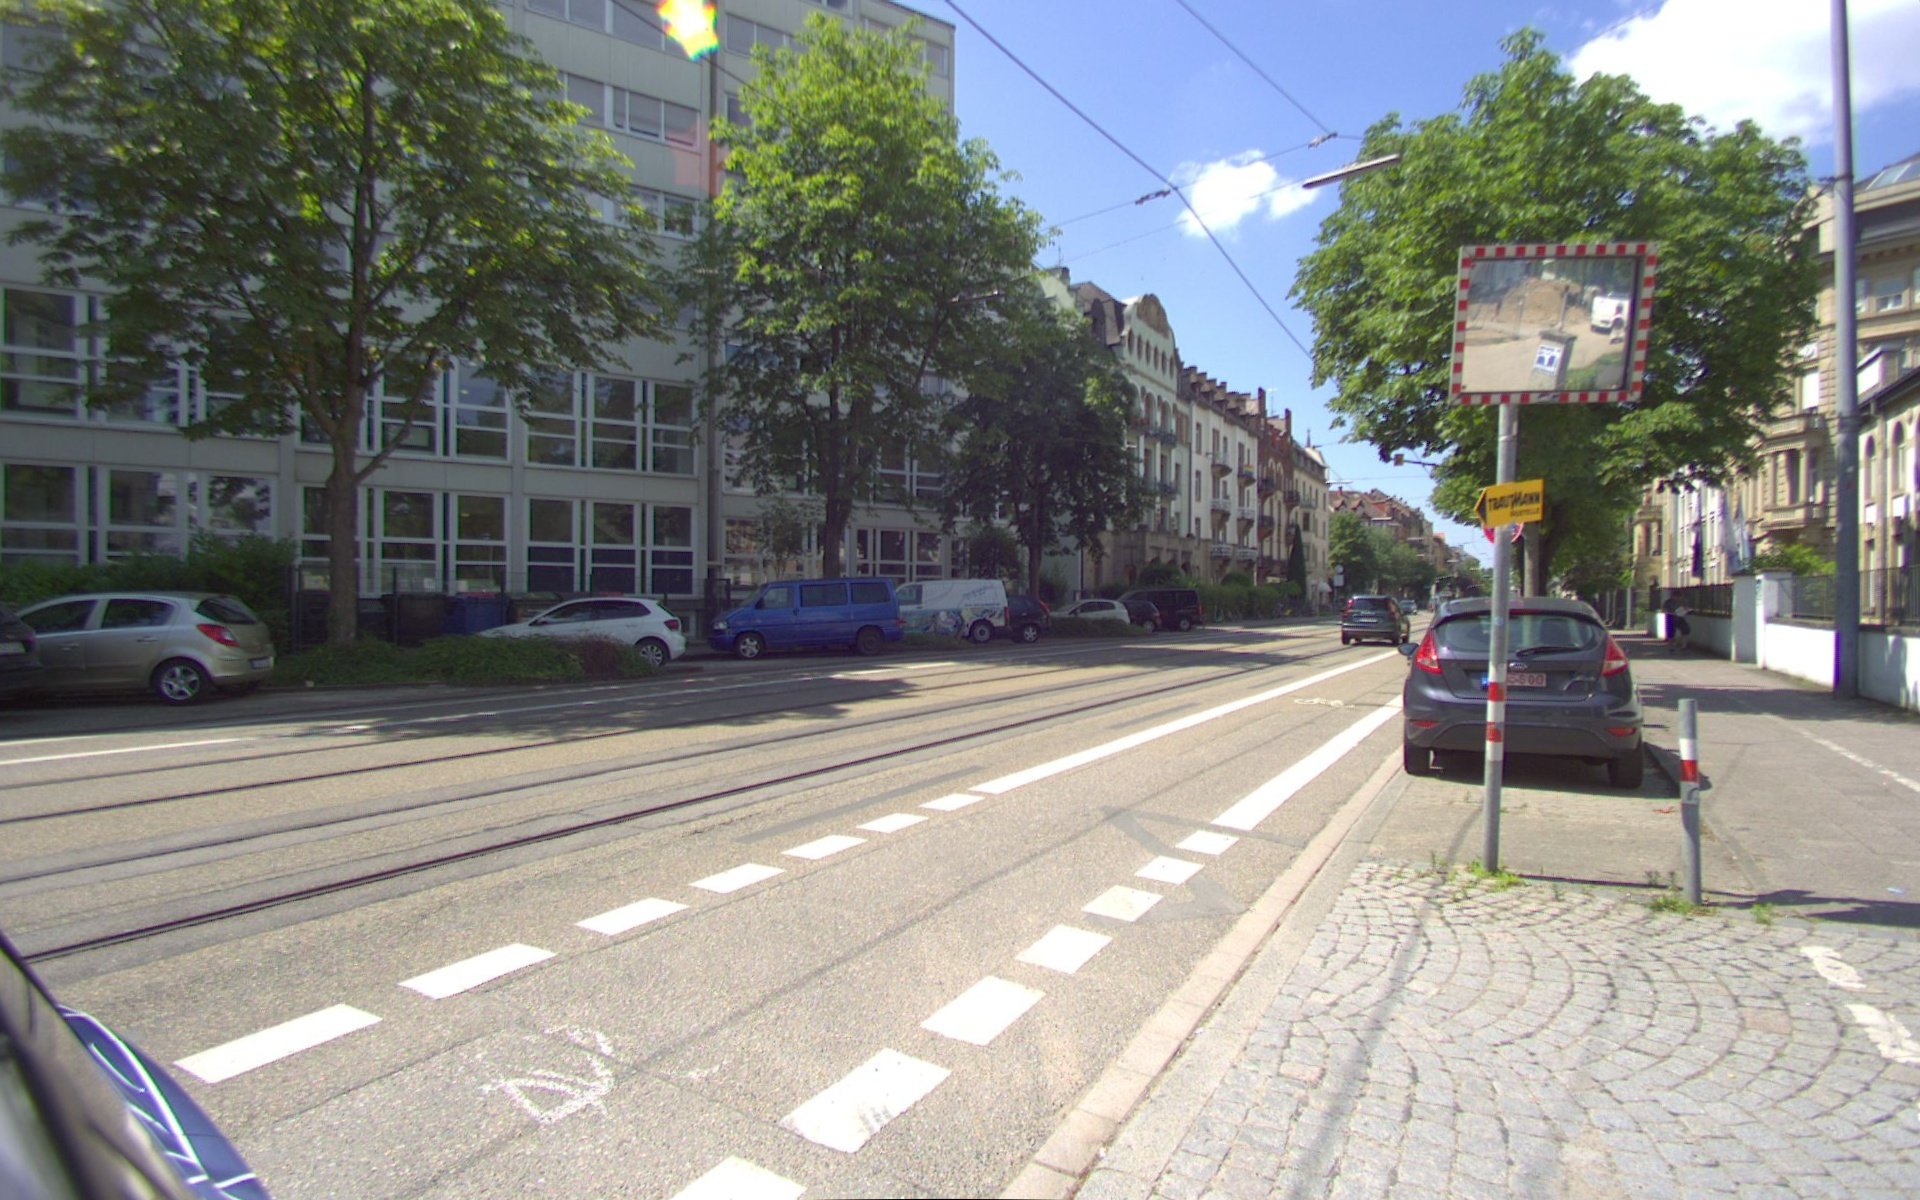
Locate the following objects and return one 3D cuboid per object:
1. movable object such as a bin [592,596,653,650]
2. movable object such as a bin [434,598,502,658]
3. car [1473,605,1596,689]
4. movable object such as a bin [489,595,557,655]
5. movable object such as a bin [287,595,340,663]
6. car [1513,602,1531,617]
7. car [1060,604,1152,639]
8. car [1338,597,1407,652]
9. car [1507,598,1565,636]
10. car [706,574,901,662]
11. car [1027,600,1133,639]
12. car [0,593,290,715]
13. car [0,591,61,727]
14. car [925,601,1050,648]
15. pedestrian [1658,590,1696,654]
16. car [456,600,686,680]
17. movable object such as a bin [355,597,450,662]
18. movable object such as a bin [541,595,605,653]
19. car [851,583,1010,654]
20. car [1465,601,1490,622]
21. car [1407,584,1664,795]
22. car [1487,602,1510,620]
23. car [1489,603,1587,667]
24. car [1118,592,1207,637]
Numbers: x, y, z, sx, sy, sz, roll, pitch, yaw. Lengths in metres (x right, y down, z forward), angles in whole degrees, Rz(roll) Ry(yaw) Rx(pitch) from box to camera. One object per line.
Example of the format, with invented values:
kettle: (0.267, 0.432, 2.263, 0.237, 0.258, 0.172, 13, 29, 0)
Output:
movable object such as a bin: (-8.971, 0.602, 26.906, 1.036, 1.409, 1.166, -1, -1, 38)
movable object such as a bin: (-11.218, 0.627, 23.084, 0.968, 1.340, 1.065, -1, -1, 32)
car: (11.205, 0.827, 19.632, 1.878, 1.429, 4.105, -1, -1, 32)
movable object such as a bin: (-10.561, 0.598, 24.459, 1.036, 1.409, 1.166, -1, -1, 38)
movable object such as a bin: (-13.666, 0.602, 21.402, 0.767, 1.416, 0.792, -1, -1, 44)
car: (66.480, 1.084, 119.687, 1.757, 1.732, 3.958, 0, -1, 31)
car: (6.556, 0.926, 45.223, 3.960, 1.519, 1.940, 0, -1, 13)
car: (13.582, 0.769, 33.229, 1.600, 1.664, 3.959, 1, 0, 30)
car: (25.287, 0.723, 44.363, 1.726, 1.626, 3.951, -1, -1, 36)
car: (-3.892, 0.431, 24.916, 4.552, 2.029, 2.006, 0, -1, -15)
car: (4.958, 0.812, 41.860, 3.932, 1.397, 1.756, 3, 1, -16)
car: (-11.096, 0.655, 13.275, 3.480, 1.473, 1.759, 0, -1, -16)
car: (-12.479, 0.653, 10.680, 4.126, 1.481, 1.759, 0, 0, -16)
car: (0.871, 0.777, 33.249, 3.940, 1.497, 1.672, 0, -1, -4)
pedestrian: (18.064, 0.542, 25.506, 0.694, 1.579, 0.737, 0, 0, 28)
car: (-7.265, 0.714, 19.259, 3.913, 1.424, 1.720, 0, -1, -16)
movable object such as a bin: (-11.944, 0.623, 21.701, 1.122, 1.340, 1.436, -1, -1, 32)
movable object such as a bin: (-9.798, 0.600, 25.637, 1.036, 1.409, 1.166, -1, -1, 38)
car: (-0.933, 0.545, 30.264, 4.558, 2.029, 2.003, 0, -1, -7)
car: (43.924, 0.931, 85.875, 1.672, 1.732, 3.958, 0, -1, 31)
car: (4.995, 0.675, 9.097, 1.580, 1.468, 3.692, -3, -2, 26)
car: (50.670, 1.033, 95.262, 1.757, 1.732, 3.958, 0, -1, 31)
car: (14.397, 0.814, 25.119, 1.946, 1.454, 3.732, -1, -1, 32)
car: (9.491, 0.662, 47.430, 3.960, 2.029, 1.992, 0, -1, 13)
